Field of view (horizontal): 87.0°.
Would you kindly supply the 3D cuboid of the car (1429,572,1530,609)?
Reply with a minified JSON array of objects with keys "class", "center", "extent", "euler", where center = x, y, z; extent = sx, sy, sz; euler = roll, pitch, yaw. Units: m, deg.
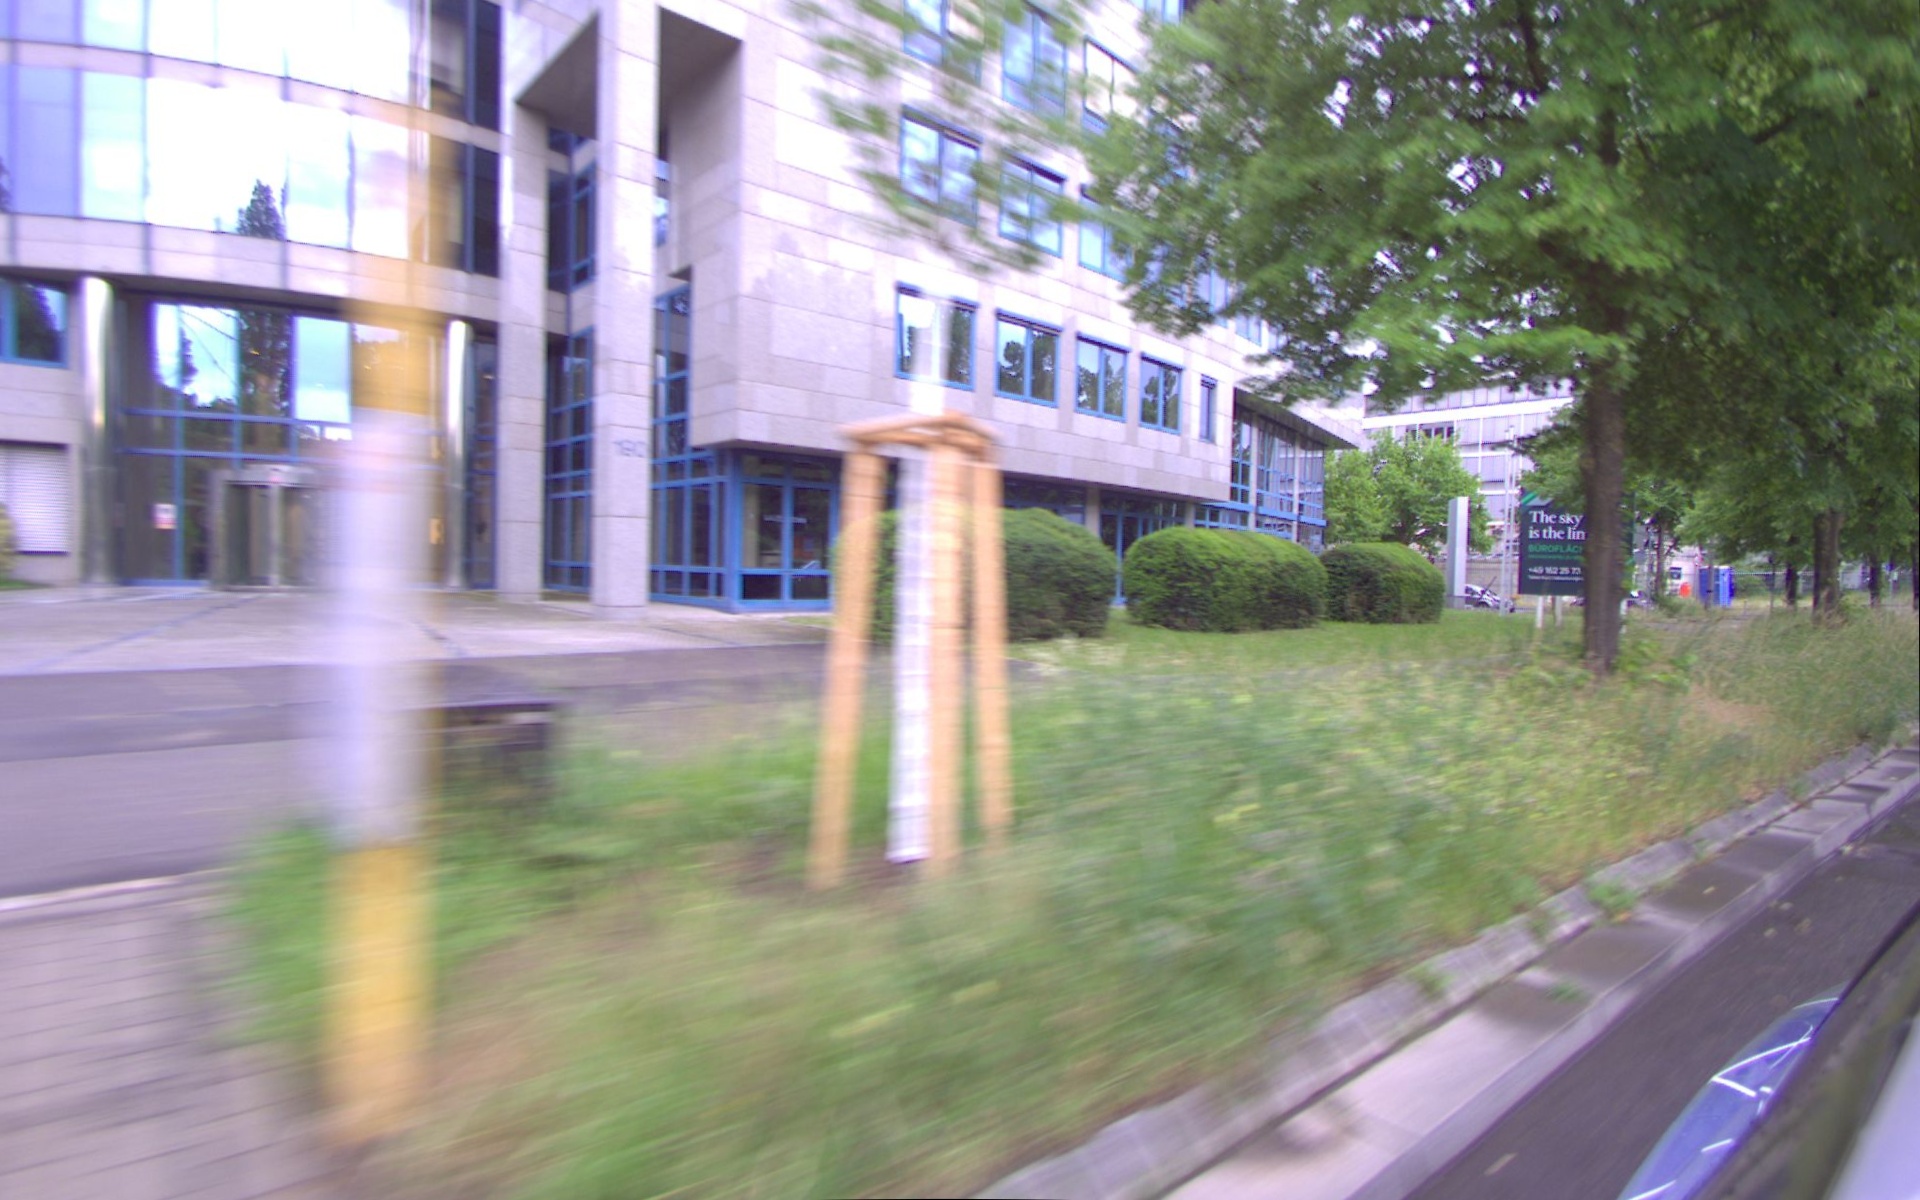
[{"class":"car","center":[25.548,-0.477,49.865],"extent":[1.722,1.662,4.115],"euler":[2,1,-30]}]

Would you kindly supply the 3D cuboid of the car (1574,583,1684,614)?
[{"class":"car","center":[33.485,-0.118,50.705],"extent":[4.413,1.451,1.686],"euler":[1,2,43]}]
